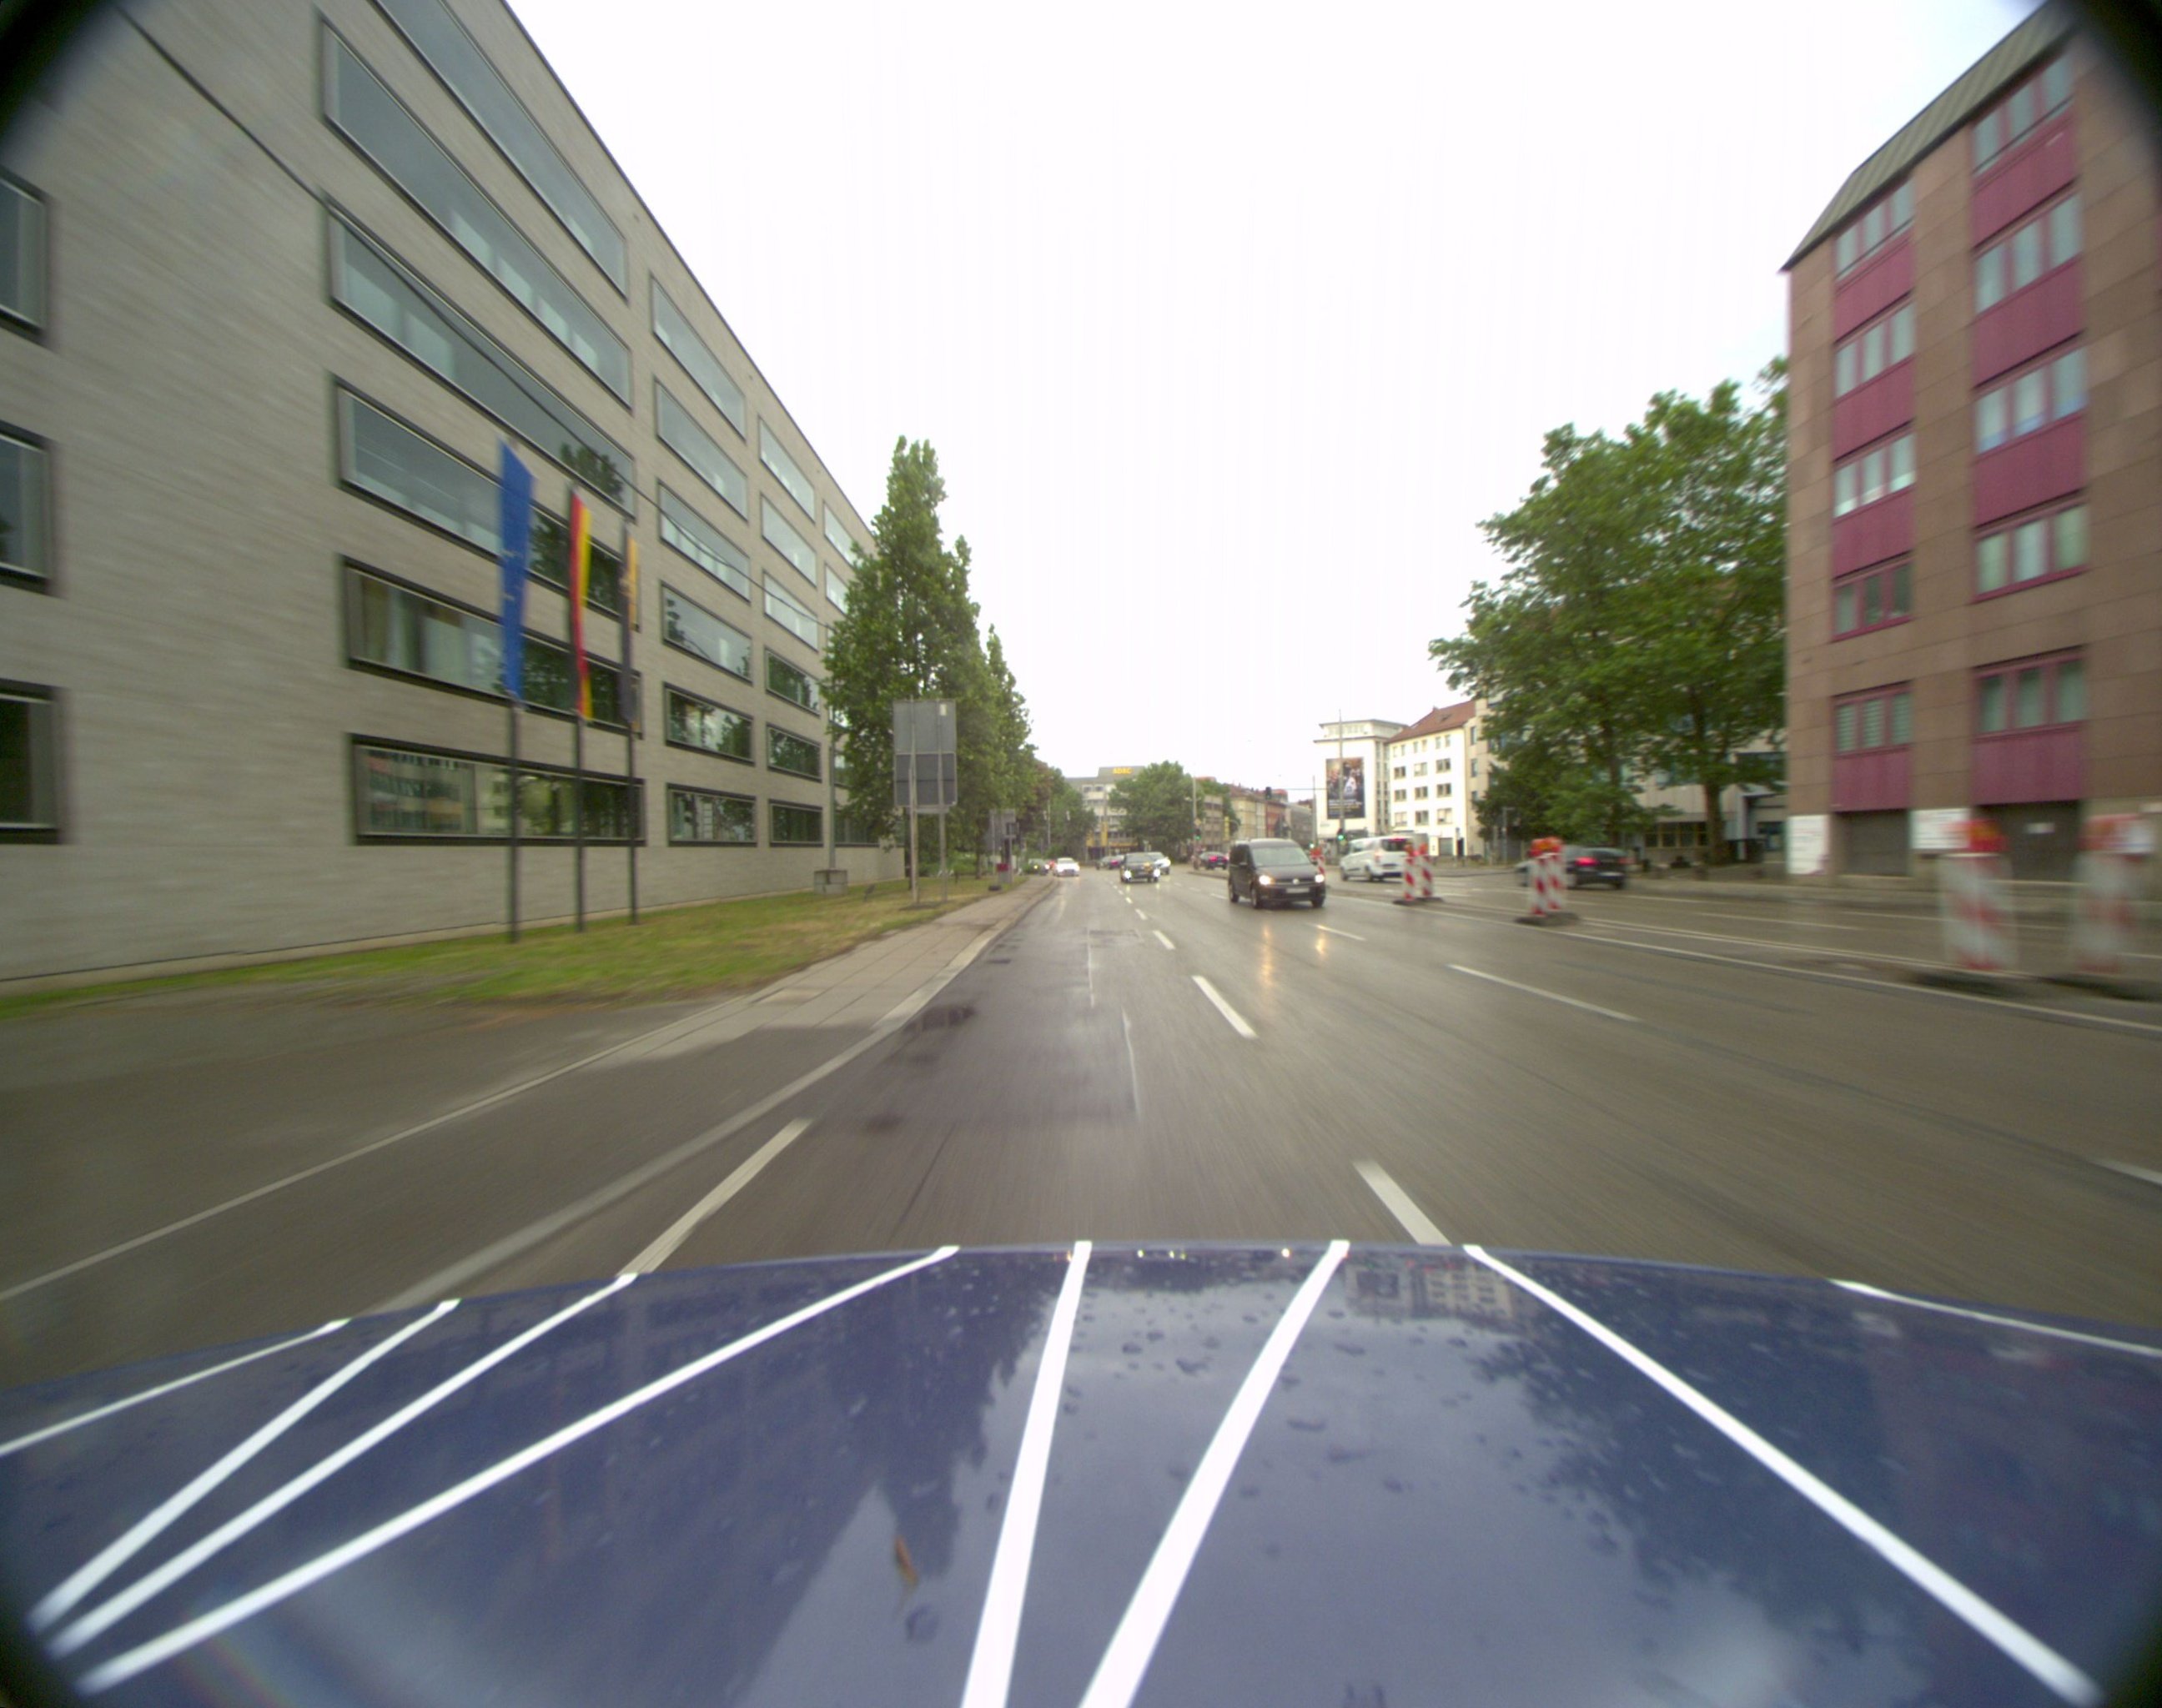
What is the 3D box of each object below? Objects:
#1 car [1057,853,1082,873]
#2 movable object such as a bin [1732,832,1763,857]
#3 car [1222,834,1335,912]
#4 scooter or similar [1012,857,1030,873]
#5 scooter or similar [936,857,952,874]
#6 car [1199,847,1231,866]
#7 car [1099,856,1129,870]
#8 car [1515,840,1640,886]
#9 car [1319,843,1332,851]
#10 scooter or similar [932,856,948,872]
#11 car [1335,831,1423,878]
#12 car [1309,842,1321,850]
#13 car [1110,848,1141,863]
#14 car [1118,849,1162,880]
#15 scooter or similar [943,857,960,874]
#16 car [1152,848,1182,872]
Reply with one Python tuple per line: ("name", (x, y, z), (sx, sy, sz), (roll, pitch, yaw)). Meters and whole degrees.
("car", (-0.939, 0.714, 62.210), (1.847, 1.567, 4.000), (-1, 1, 2))
("movable object such as a bin", (26.952, -0.396, 30.725), (0.872, 0.990, 0.790), (0, 1, 45))
("car", (5.165, 0.454, 20.450), (1.795, 1.789, 4.124), (-3, 0, -1))
("scooter or similar", (-4.754, 0.890, 60.585), (0.687, 1.194, 1.341), (0, 1, 39))
("scooter or similar", (-11.124, 0.918, 61.773), (1.240, 1.305, 0.472), (-1, 1, -2))
("car", (12.133, 0.230, 69.107), (1.999, 1.667, 4.937), (-1, 0, 0))
("car", (3.607, 0.998, 83.503), (2.001, 1.430, 4.931), (-1, 0, -14))
("car", (16.388, 0.259, 25.334), (1.703, 1.391, 4.021), (-1, 1, 3))
("car", (49.477, -1.419, 154.000), (1.871, 1.568, 4.007), (-1, 1, 27))
("scooter or similar", (-11.564, 0.809, 62.290), (1.240, 1.305, 0.472), (-1, 1, -2))
("car", (13.591, -0.010, 35.020), (1.998, 1.979, 5.288), (-1, 1, 1))
("car", (54.571, -1.951, 177.178), (1.995, 1.832, 4.447), (-1, 1, 25))
("car", (5.194, 0.150, 88.781), (1.774, 1.672, 4.581), (-2, 1, -23))
("car", (3.209, 0.564, 41.933), (1.930, 1.532, 3.999), (-2, 0, -2))
("scooter or similar", (-10.439, 0.902, 61.258), (1.240, 1.305, 0.554), (-1, 1, -2))
("car", (6.116, 0.388, 54.397), (1.847, 1.567, 4.000), (-1, 1, 2))
